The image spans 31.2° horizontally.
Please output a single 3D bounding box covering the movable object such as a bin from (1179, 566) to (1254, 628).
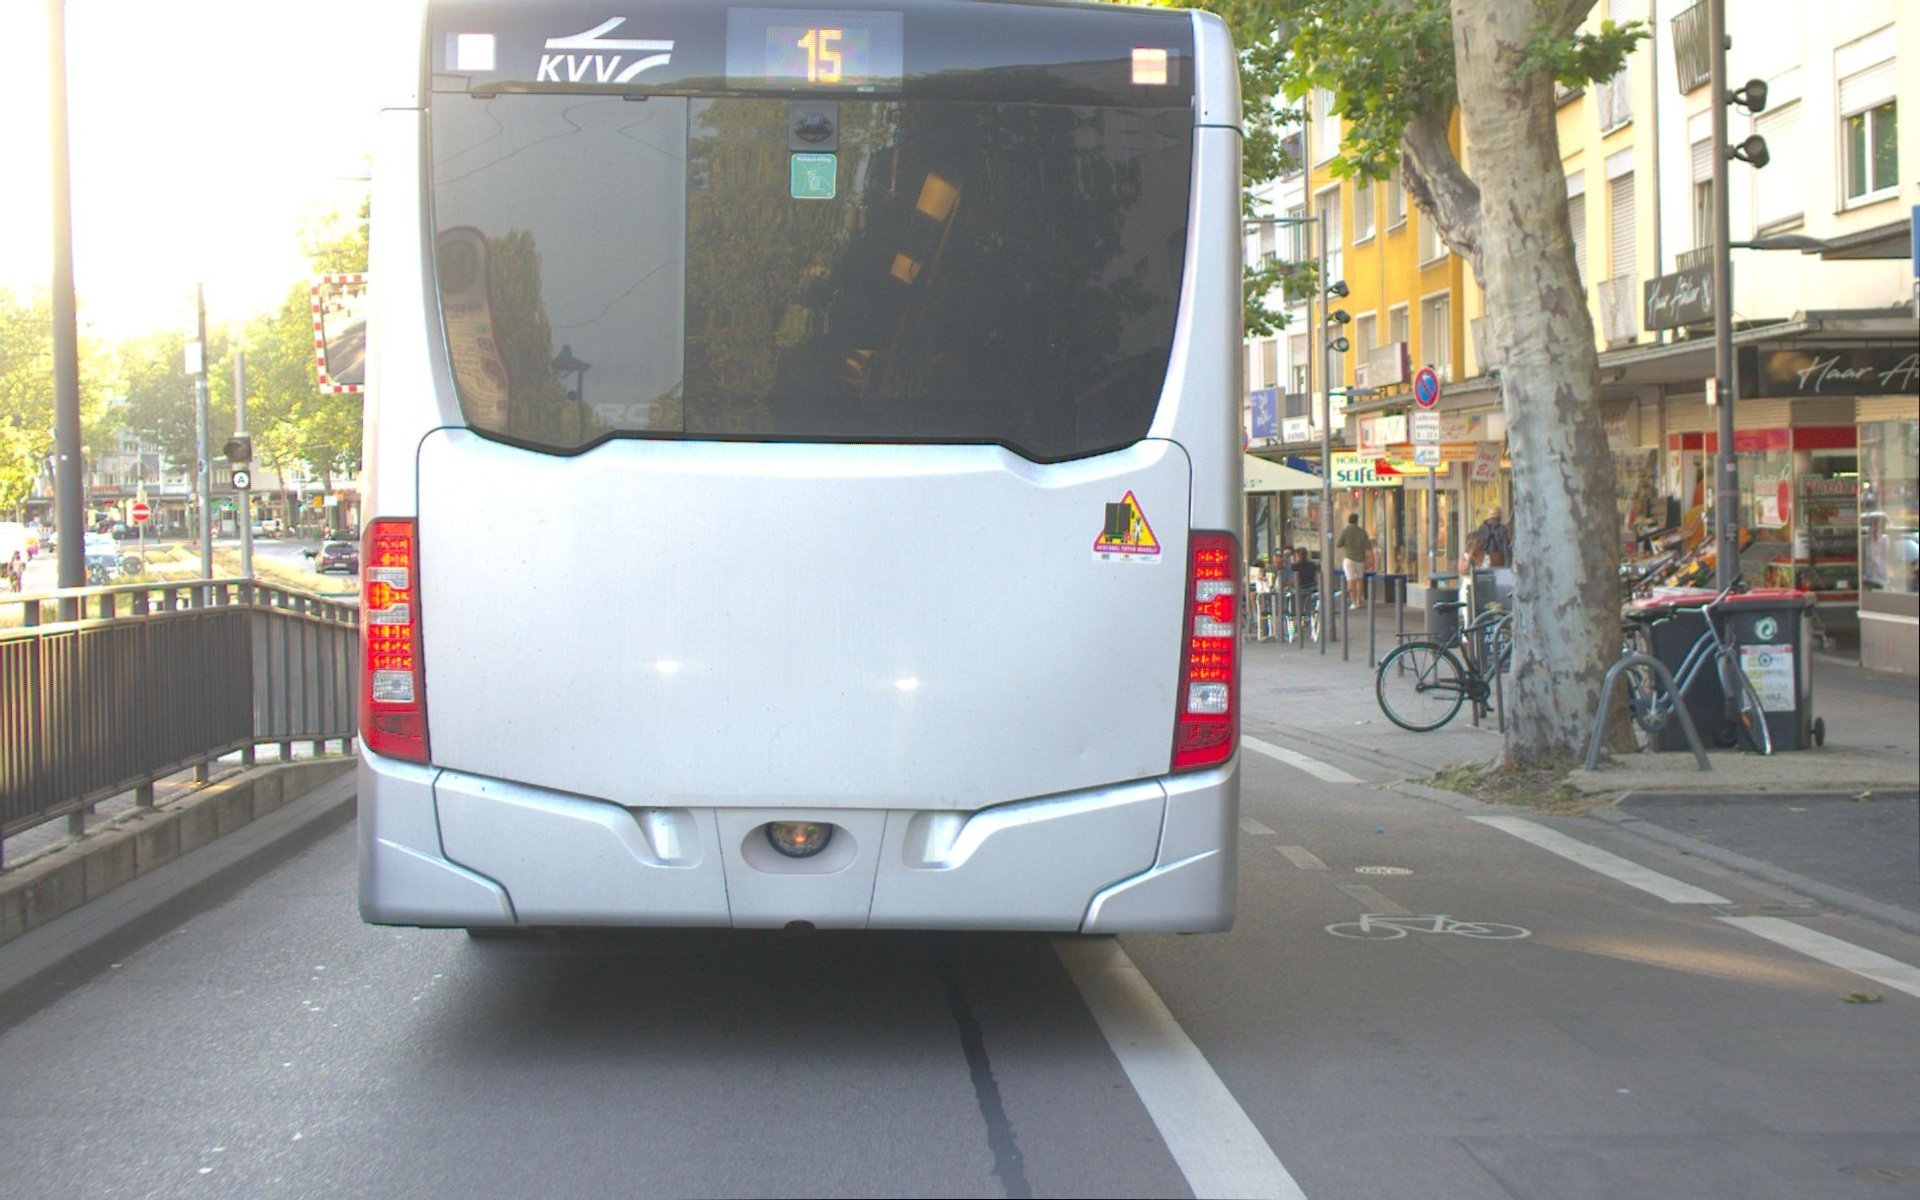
[{"bbox_3d":[4.309,-0.056,57.781,0.926,1.020,0.840,1,1,-31],"label":"movable object such as a bin"}]

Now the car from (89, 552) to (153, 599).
[{"bbox_3d":[-29.066,-0.875,119.213,1.722,1.504,3.477,-3,1,-8],"label":"car"}]

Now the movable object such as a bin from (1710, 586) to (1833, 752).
[{"bbox_3d":[5.463,0.460,23.141,0.723,1.068,0.643,-2,1,17],"label":"movable object such as a bin"}]

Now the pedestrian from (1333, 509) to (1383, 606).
[{"bbox_3d":[7.517,-0.805,65.010,0.706,1.785,0.788,-4,1,-3],"label":"pedestrian"}]

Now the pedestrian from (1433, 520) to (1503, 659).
[{"bbox_3d":[5.955,-0.129,40.321,0.635,1.581,0.627,-3,1,-3],"label":"pedestrian"}]

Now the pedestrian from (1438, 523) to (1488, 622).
[{"bbox_3d":[7.937,-0.435,54.275,0.625,1.541,0.637,-1,1,22],"label":"pedestrian"}]

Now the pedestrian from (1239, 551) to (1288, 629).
[{"bbox_3d":[4.814,-0.159,54.544,0.605,1.221,0.745,-1,1,-8],"label":"pedestrian"}]

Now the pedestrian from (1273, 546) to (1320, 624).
[{"bbox_3d":[5.508,-0.251,56.269,0.583,1.270,0.759,1,1,-8],"label":"pedestrian"}]

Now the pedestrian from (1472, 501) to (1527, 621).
[{"bbox_3d":[8.218,-0.596,52.358,0.636,1.797,0.626,-1,1,27],"label":"pedestrian"}]

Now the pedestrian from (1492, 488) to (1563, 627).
[{"bbox_3d":[6.651,-0.498,40.307,0.622,1.581,0.627,-3,1,-3],"label":"pedestrian"}]

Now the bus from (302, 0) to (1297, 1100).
[{"bbox_3d":[-0.637,-0.274,12.936,2.677,3.073,7.115,-1,1,-3],"label":"bus"}]

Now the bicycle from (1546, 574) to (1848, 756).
[{"bbox_3d":[4.598,0.414,21.521,1.717,1.114,0.745,0,-3,-1],"label":"bicycle"}]

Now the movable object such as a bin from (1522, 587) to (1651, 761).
[{"bbox_3d":[4.246,0.497,23.331,0.722,1.098,0.644,-5,1,5],"label":"movable object such as a bin"}]

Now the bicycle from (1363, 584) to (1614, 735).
[{"bbox_3d":[4.238,0.475,27.659,1.907,1.101,0.518,-3,1,5],"label":"bicycle"}]

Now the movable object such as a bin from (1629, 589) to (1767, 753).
[{"bbox_3d":[5.063,0.478,23.623,0.722,1.068,0.644,-3,1,-3],"label":"movable object such as a bin"}]
